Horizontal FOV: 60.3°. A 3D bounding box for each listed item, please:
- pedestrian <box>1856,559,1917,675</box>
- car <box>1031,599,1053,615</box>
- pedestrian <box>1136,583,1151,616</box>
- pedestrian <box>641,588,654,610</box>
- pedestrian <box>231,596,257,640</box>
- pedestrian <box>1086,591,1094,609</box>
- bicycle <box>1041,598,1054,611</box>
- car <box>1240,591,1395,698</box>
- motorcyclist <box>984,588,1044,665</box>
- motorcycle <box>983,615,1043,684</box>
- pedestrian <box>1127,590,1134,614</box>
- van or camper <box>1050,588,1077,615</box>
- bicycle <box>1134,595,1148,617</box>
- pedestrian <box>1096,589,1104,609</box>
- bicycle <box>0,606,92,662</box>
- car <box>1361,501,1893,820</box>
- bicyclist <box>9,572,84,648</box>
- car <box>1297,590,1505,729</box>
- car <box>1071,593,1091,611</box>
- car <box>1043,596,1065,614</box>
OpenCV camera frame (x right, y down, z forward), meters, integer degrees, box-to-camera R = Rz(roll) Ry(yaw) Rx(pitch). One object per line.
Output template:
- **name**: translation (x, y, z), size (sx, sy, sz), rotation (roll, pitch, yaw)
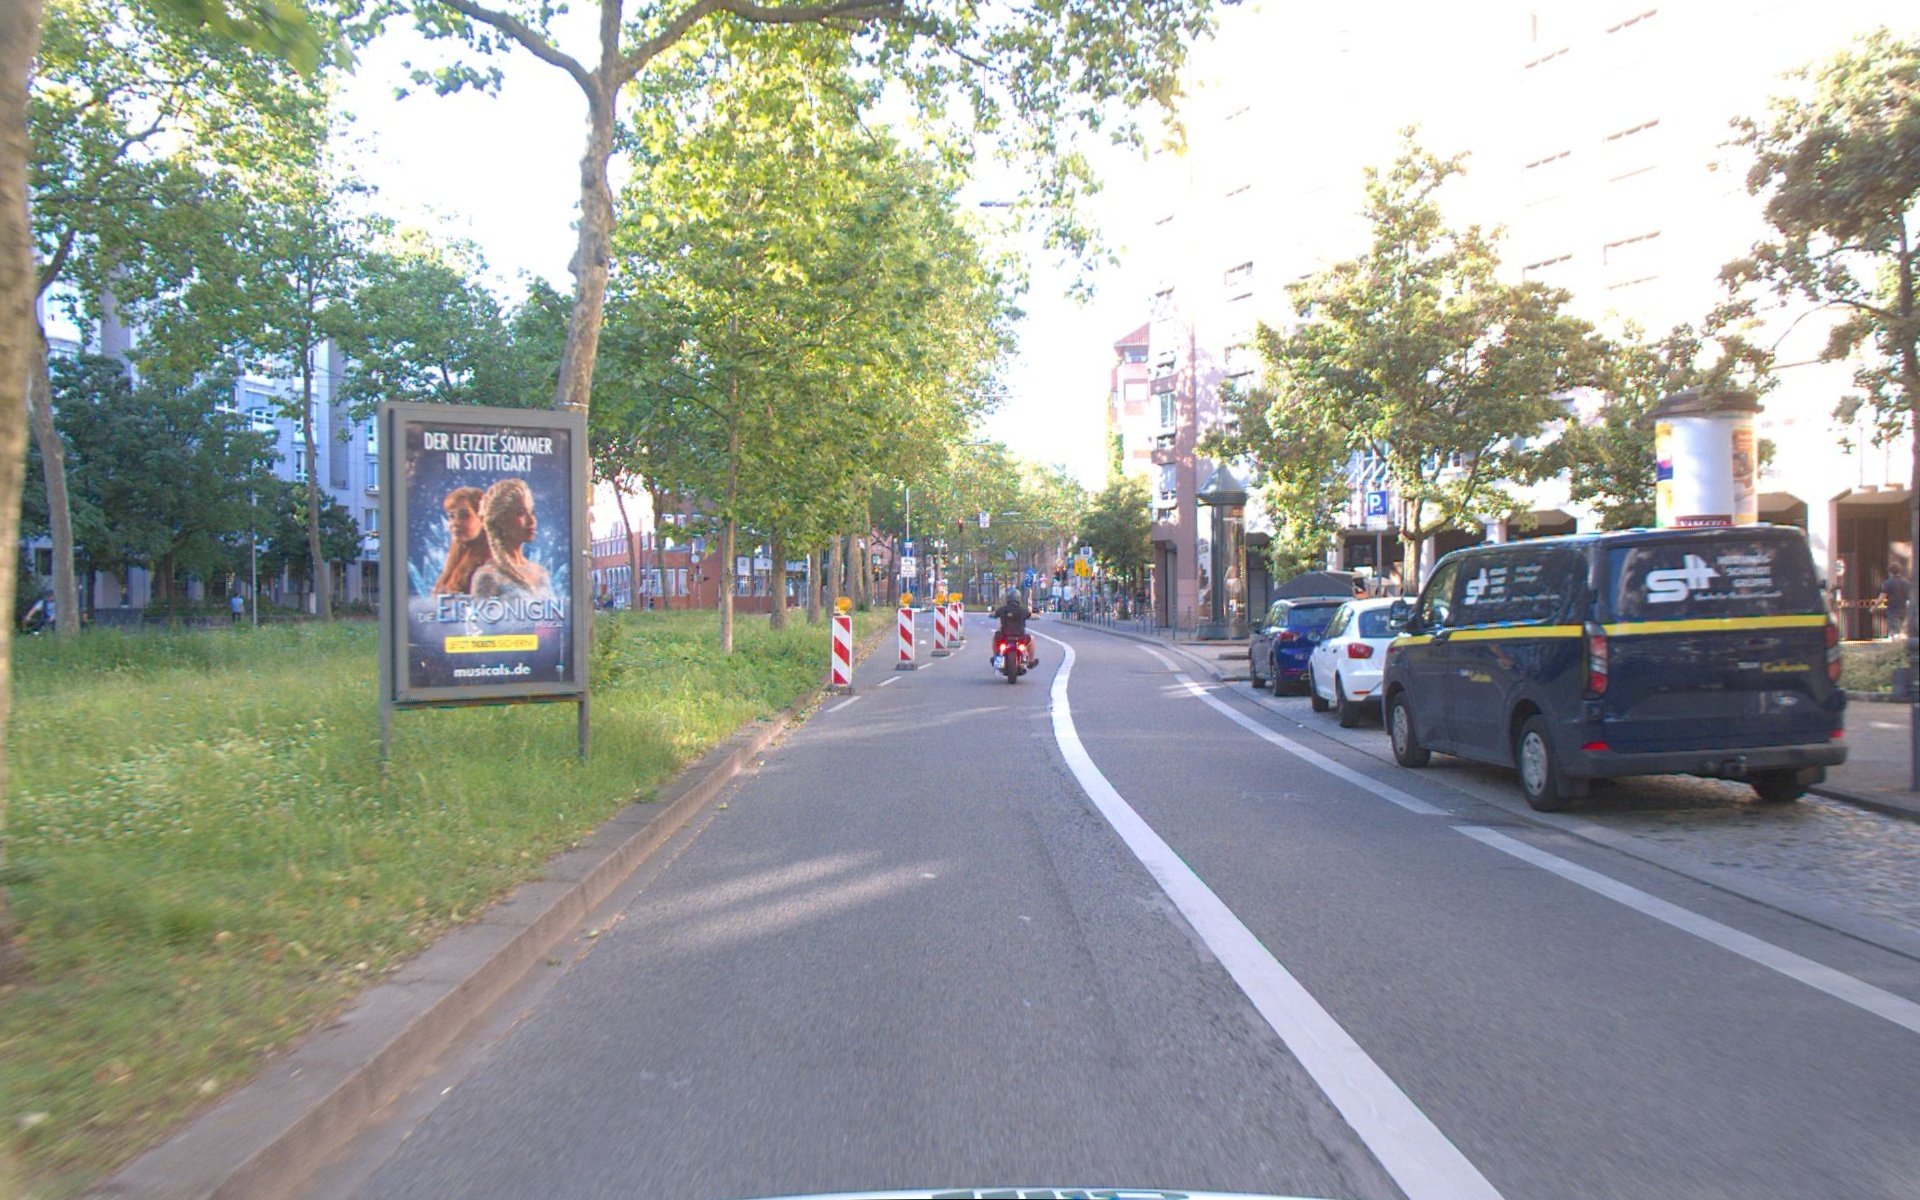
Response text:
- **pedestrian**: translation (16.270, 0.298, 29.070), size (0.626, 2.016, 0.776), rotation (0, 0, 0)
- **car**: translation (7.162, 0.589, 144.173), size (1.585, 1.325, 4.315), rotation (-1, 0, 8)
- **pedestrian**: translation (9.989, -0.028, 90.200), size (0.764, 1.769, 0.837), rotation (-1, 0, 8)
- **pedestrian**: translation (-27.001, -0.113, 142.914), size (0.837, 1.902, 0.753), rotation (-1, 0, 8)
- **pedestrian**: translation (-29.179, 0.713, 67.420), size (0.713, 1.770, 0.648), rotation (-1, 0, 3)
- **pedestrian**: translation (11.676, 0.016, 148.594), size (0.630, 1.606, 0.748), rotation (0, 0, 3)
- **bicycle**: translation (7.277, 0.366, 137.075), size (0.723, 1.071, 1.748), rotation (-1, 0, -9)
- **car**: translation (5.566, 0.641, 26.224), size (1.666, 1.509, 4.250), rotation (-2, 0, 3)
- **motorcyclist**: translation (0.937, 0.450, 28.645), size (0.990, 1.285, 0.774), rotation (2, 0, 2)
- **motorcycle**: translation (0.915, 0.840, 28.533), size (0.997, 1.116, 2.008), rotation (0, 0, 2)
- **pedestrian**: translation (12.041, 0.153, 116.935), size (0.449, 1.702, 0.680), rotation (-1, 0, 4)
- **van or camper**: translation (10.049, 0.115, 160.529), size (2.005, 2.585, 5.778), rotation (-1, 0, 10)
- **bicycle**: translation (10.629, 0.347, 96.896), size (0.608, 1.247, 1.928), rotation (0, 0, 12)
- **pedestrian**: translation (12.555, -0.111, 148.546), size (0.685, 1.764, 0.768), rotation (0, 0, 3)
- **bicycle**: translation (-19.826, 0.721, 35.657), size (0.937, 1.146, 2.436), rotation (-1, 0, 0)
- **car**: translation (4.961, 0.371, 13.320), size (1.997, 1.977, 5.196), rotation (-3, 0, -2)
- **bicyclist**: translation (-19.850, 0.211, 35.963), size (0.922, 1.598, 1.209), rotation (-1, 0, 0)
- **car**: translation (5.332, 0.653, 20.510), size (1.666, 1.491, 4.177), rotation (-2, 0, 3)
- **car**: translation (13.038, 0.233, 178.149), size (1.585, 1.898, 3.777), rotation (-1, 0, 12)
- **car**: translation (8.818, 0.487, 154.193), size (1.585, 1.647, 4.489), rotation (-1, 0, 9)
